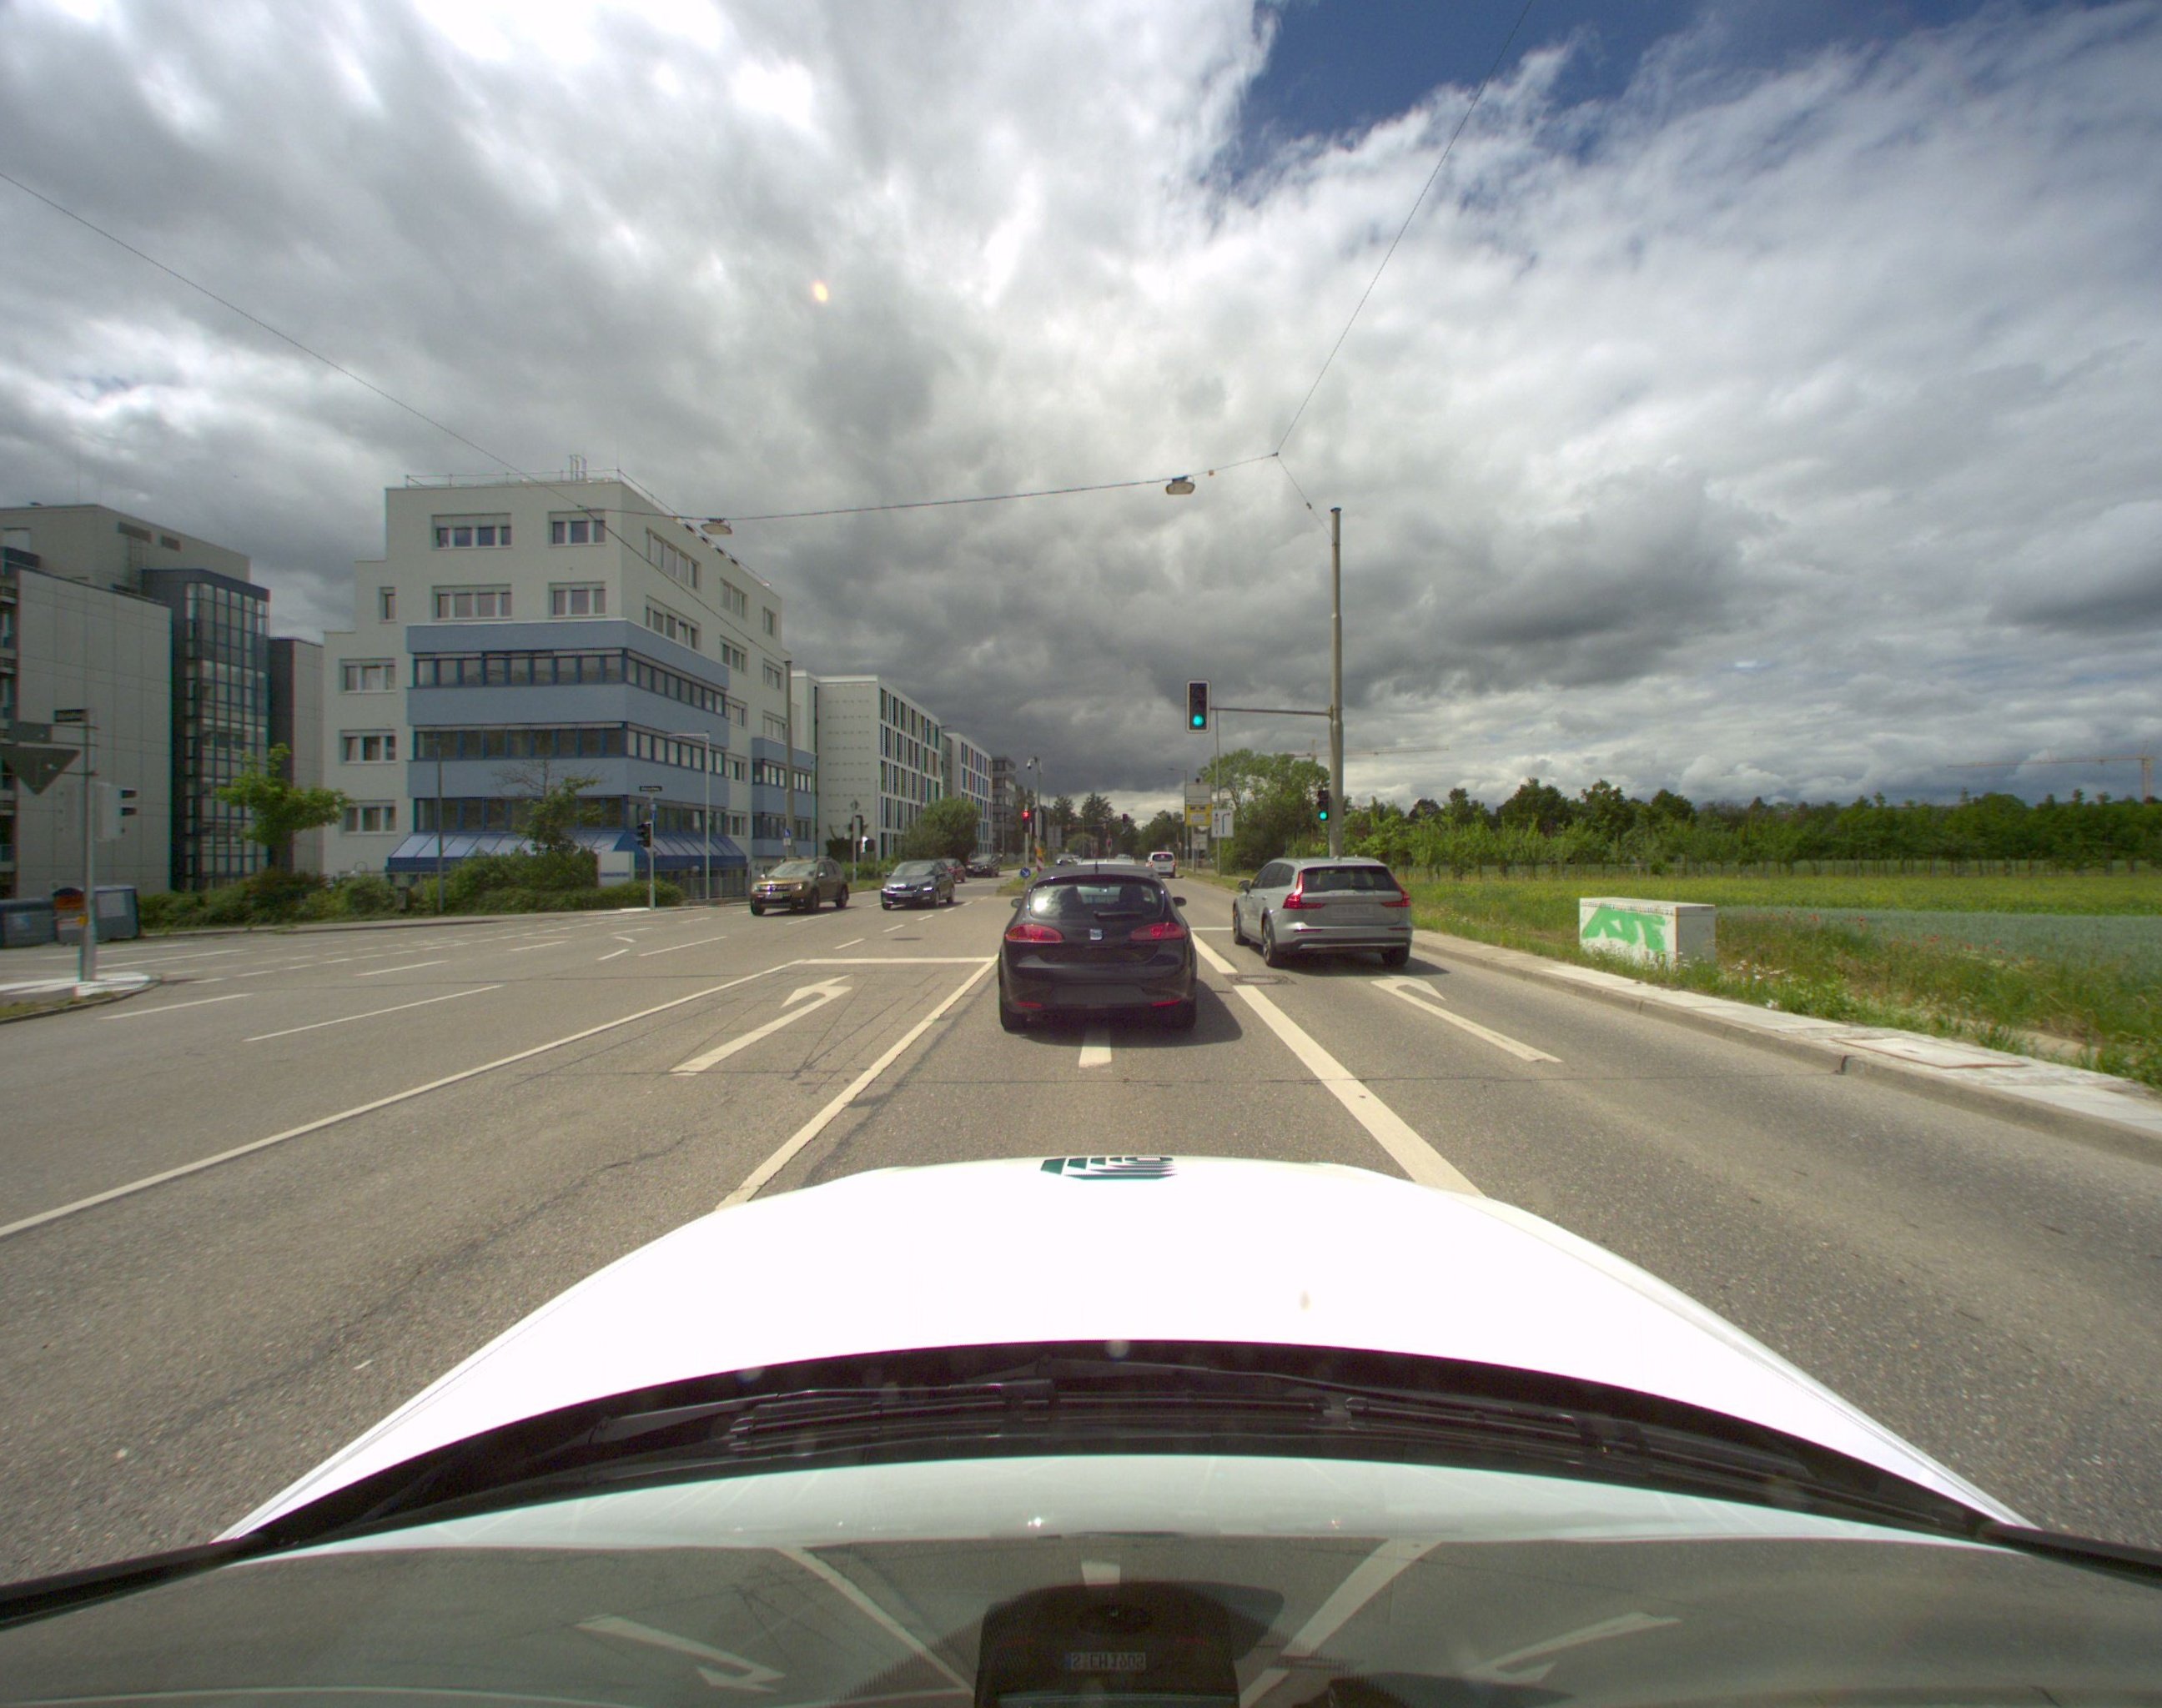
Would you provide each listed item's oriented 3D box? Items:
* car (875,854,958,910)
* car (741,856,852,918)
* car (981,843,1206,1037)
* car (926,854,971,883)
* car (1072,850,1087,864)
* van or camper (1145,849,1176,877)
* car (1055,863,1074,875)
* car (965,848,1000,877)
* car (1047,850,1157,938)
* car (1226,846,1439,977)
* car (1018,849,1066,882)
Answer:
[{"bbox_3d":[-5.073,0.810,25.571,1.662,1.524,4.010,0,1,2],"label":"car"},{"bbox_3d":[-8.386,0.912,24.419,1.744,1.631,4.001,-3,0,2],"label":"car"},{"bbox_3d":[0.272,0.713,8.505,1.739,1.484,4.006,-3,-1,5],"label":"car"},{"bbox_3d":[-7.742,0.827,47.951,1.769,1.612,4.002,-1,-1,2],"label":"car"},{"bbox_3d":[-0.173,0.411,119.098,1.986,2.014,4.001,-1,-1,2],"label":"car"},{"bbox_3d":[5.753,0.678,59.112,1.892,1.926,4.000,-1,-1,1],"label":"van or camper"},{"bbox_3d":[-1.963,1.776,95.994,1.986,1.409,4.001,-1,-1,2],"label":"car"},{"bbox_3d":[-7.096,0.625,58.990,1.987,2.014,4.479,-1,-1,-1],"label":"car"},{"bbox_3d":[0.424,0.720,16.907,1.976,1.590,4.227,0,0,1],"label":"car"},{"bbox_3d":[3.468,0.734,12.181,1.950,1.525,4.342,-2,-1,2],"label":"car"},{"bbox_3d":[-1.843,0.516,39.387,1.838,1.461,4.060,-1,0,3],"label":"car"}]
